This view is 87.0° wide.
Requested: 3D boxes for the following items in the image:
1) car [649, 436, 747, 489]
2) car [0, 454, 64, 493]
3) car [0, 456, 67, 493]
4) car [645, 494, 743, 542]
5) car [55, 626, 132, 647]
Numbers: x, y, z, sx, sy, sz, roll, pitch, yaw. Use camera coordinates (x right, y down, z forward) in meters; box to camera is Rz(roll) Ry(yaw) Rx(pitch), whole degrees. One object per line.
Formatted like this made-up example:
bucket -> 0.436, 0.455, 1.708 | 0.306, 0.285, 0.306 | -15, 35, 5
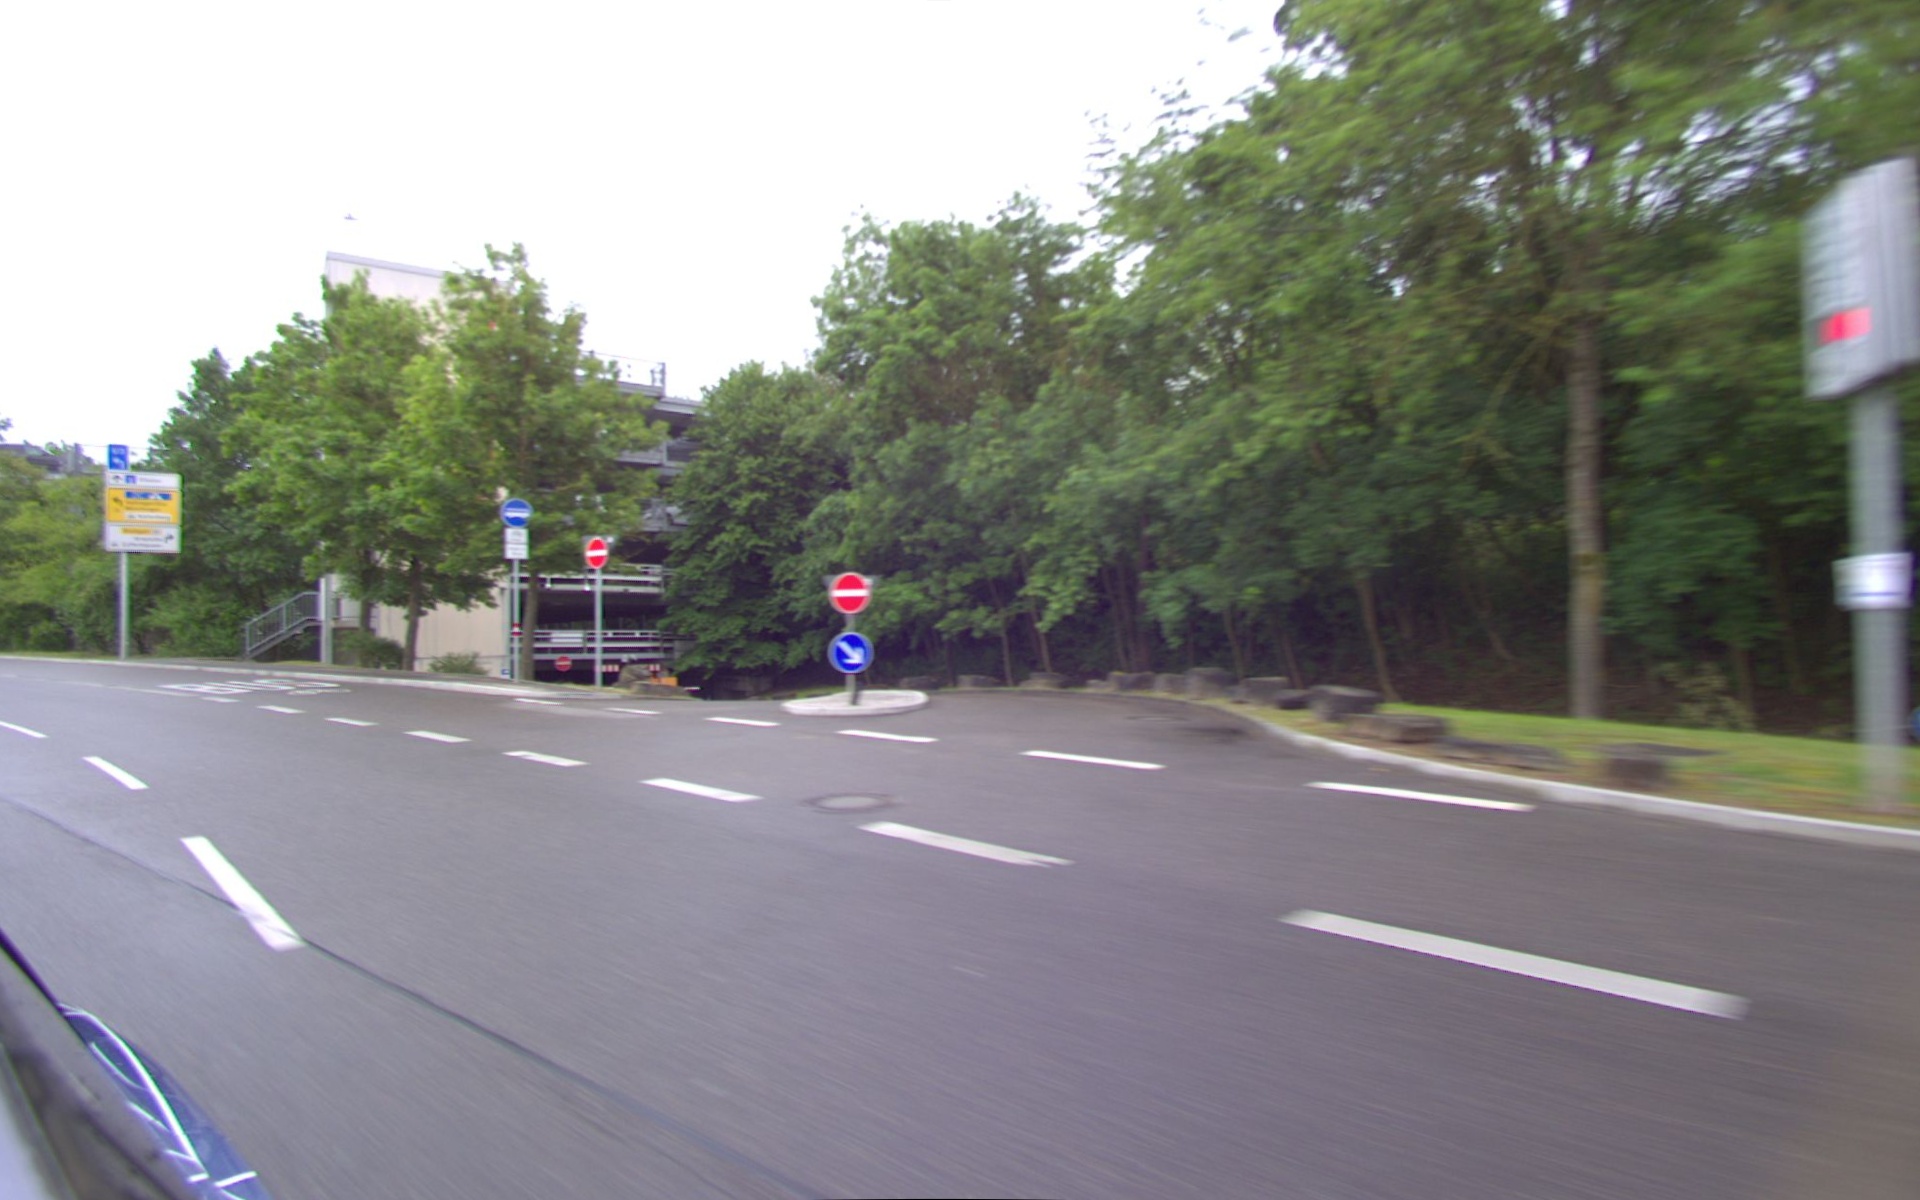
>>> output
car -> -12.108, -6.297, 46.778 | 3.933, 1.785, 2.005 | 1, -4, -35
car -> -48.069, -6.449, 51.018 | 3.931, 1.530, 2.006 | 2, -3, -30
car -> -50.713, -6.781, 54.188 | 3.931, 1.530, 2.006 | 2, -3, -30
car -> -12.304, -3.745, 46.895 | 3.933, 1.785, 2.005 | 1, -4, -35
car -> -63.914, 2.710, 74.741 | 3.931, 1.530, 2.006 | 2, -3, -30
